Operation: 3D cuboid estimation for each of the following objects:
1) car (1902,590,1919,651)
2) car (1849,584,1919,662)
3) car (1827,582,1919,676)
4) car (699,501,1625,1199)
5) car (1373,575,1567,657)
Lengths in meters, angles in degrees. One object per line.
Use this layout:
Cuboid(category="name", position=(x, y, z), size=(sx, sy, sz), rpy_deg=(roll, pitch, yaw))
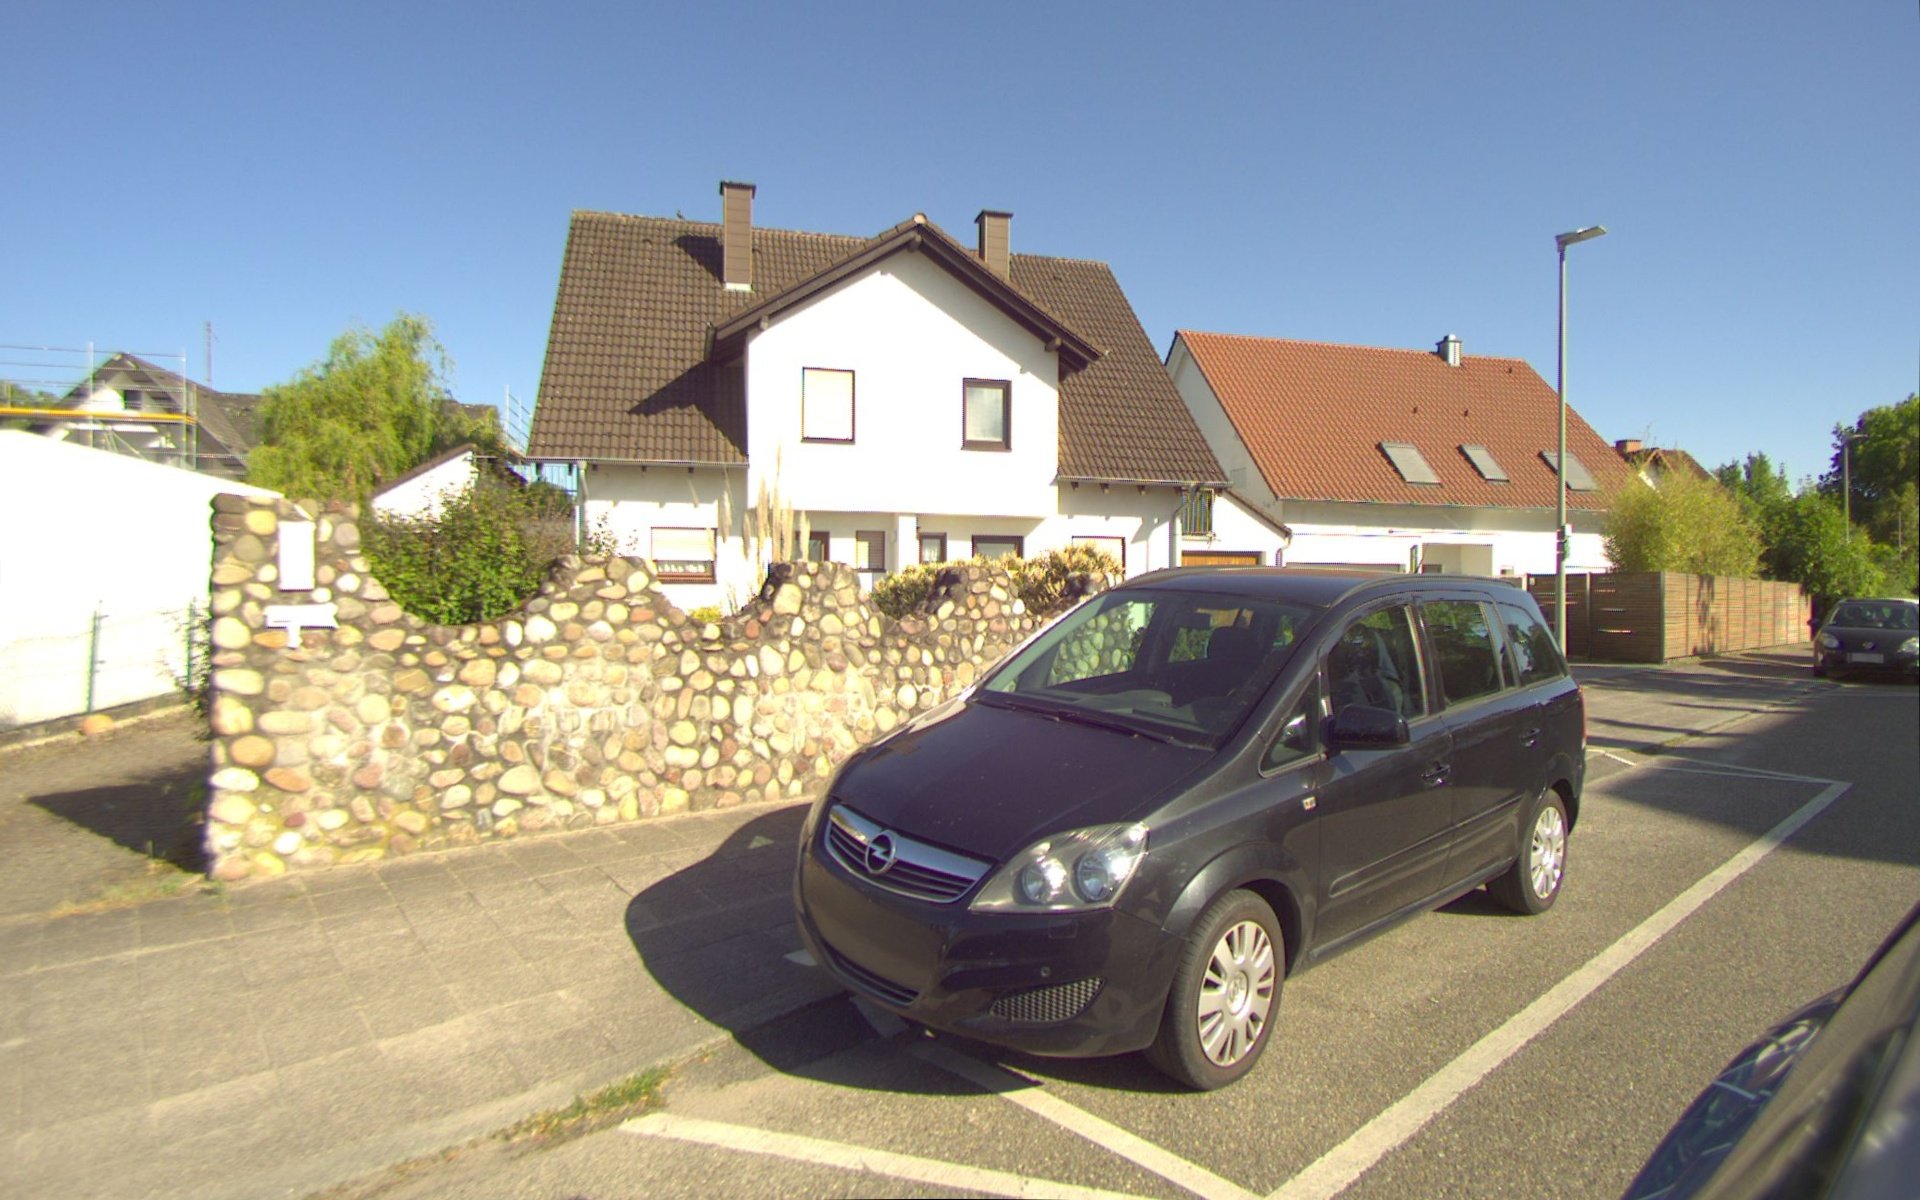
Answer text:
Cuboid(category="car", position=(25.609, 0.519, 25.966), size=(3.820, 1.512, 1.645), rpy_deg=(0, 1, -40))
Cuboid(category="car", position=(21.073, 0.471, 22.496), size=(3.754, 1.621, 1.725), rpy_deg=(0, 0, -45))
Cuboid(category="car", position=(17.653, 0.493, 19.105), size=(3.754, 1.621, 1.657), rpy_deg=(0, 0, -45))
Cuboid(category="car", position=(1.199, 0.594, 4.472), size=(4.227, 1.680, 1.779), rpy_deg=(0, 0, -40))
Cuboid(category="car", position=(11.621, 0.312, 23.377), size=(1.675, 1.706, 4.009), rpy_deg=(0, 1, -17))
